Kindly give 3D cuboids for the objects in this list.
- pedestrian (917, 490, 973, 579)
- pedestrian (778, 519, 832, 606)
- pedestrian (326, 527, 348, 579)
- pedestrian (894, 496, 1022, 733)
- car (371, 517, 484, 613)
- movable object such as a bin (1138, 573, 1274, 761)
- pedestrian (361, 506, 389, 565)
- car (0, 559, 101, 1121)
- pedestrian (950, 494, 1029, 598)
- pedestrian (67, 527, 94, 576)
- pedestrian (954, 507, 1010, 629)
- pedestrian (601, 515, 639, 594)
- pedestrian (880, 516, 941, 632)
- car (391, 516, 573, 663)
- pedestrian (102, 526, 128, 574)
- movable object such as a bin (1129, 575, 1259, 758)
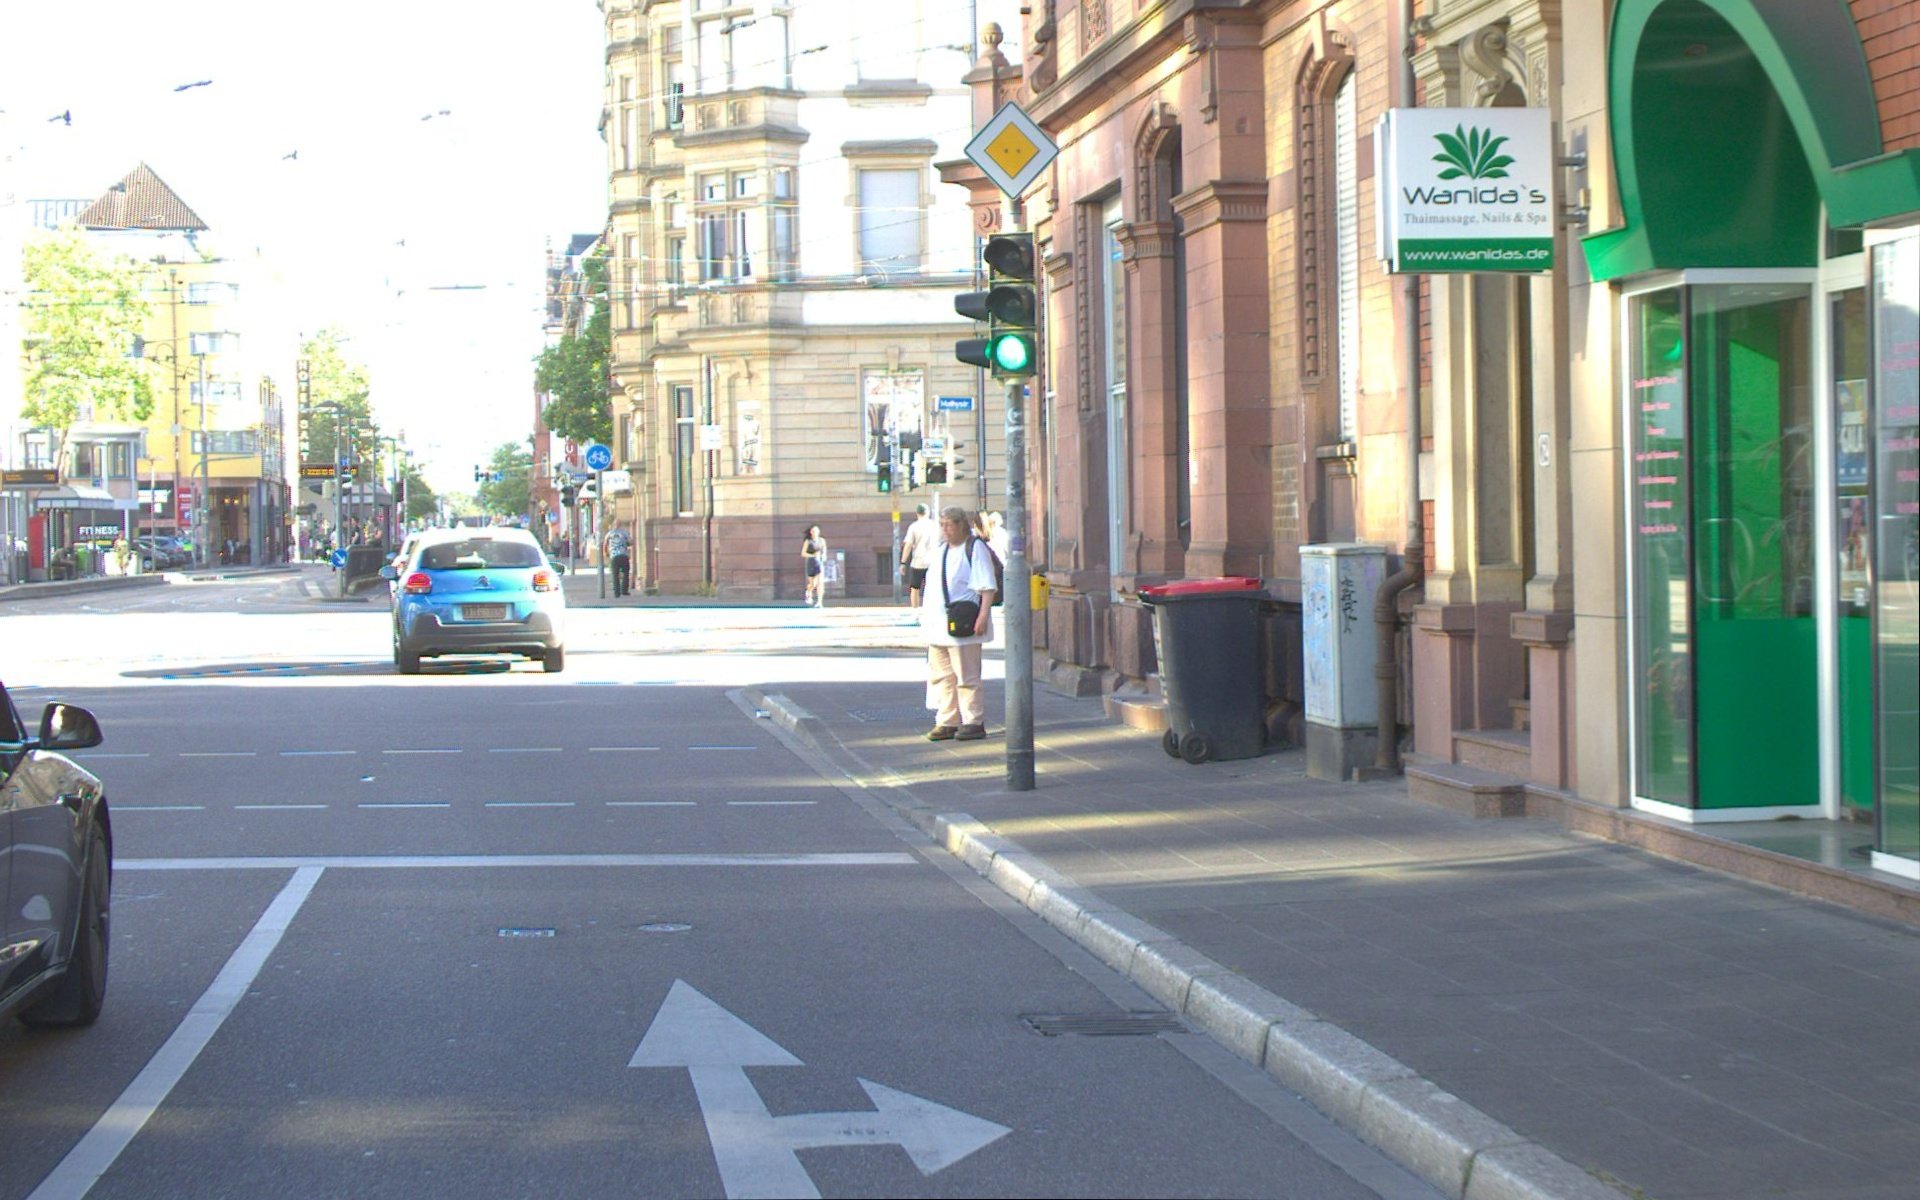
[{"bbox_3d":[-0.259,-1.153,60.523,0.633,1.532,0.941,-1,0,24],"label":"pedestrian"},{"bbox_3d":[-2.924,-0.707,65.010,0.922,1.626,0.942,-1,0,1],"label":"pedestrian"},{"bbox_3d":[-18.816,-1.414,103.833,0.468,1.556,0.587,-2,1,-32],"label":"pedestrian"},{"bbox_3d":[-0.021,0.090,23.747,0.681,1.602,0.731,-1,1,-16],"label":"pedestrian"},{"bbox_3d":[-10.096,-0.647,65.369,1.993,1.737,4.001,1,0,-7],"label":"car"},{"bbox_3d":[1.475,0.393,20.676,0.663,1.069,0.591,-4,1,-5],"label":"movable object such as a bin"},{"bbox_3d":[-16.944,-1.862,99.532,0.636,1.692,0.933,1,0,0],"label":"pedestrian"},{"bbox_3d":[-3.361,0.608,8.805,1.810,1.419,4.155,1,1,-8],"label":"car"},{"bbox_3d":[0.479,-0.862,54.789,0.923,1.626,0.941,-1,0,24],"label":"pedestrian"},{"bbox_3d":[-27.184,-1.501,106.225,0.731,1.522,0.743,0,2,-9],"label":"pedestrian"},{"bbox_3d":[0.316,-0.458,49.577,0.644,1.739,0.705,1,0,14],"label":"pedestrian"},{"bbox_3d":[-7.691,-1.029,77.768,0.779,1.743,1.093,0,3,-10],"label":"pedestrian"},{"bbox_3d":[-0.706,-0.372,49.481,0.701,1.649,0.631,-1,0,15],"label":"pedestrian"},{"bbox_3d":[-4.993,-0.140,36.081,1.780,1.446,3.655,1,1,-7],"label":"car"},{"bbox_3d":[-27.714,-1.644,112.761,0.731,1.553,0.743,0,2,-9],"label":"pedestrian"},{"bbox_3d":[1.443,0.405,21.263,0.663,1.069,0.545,-4,1,-5],"label":"movable object such as a bin"}]
